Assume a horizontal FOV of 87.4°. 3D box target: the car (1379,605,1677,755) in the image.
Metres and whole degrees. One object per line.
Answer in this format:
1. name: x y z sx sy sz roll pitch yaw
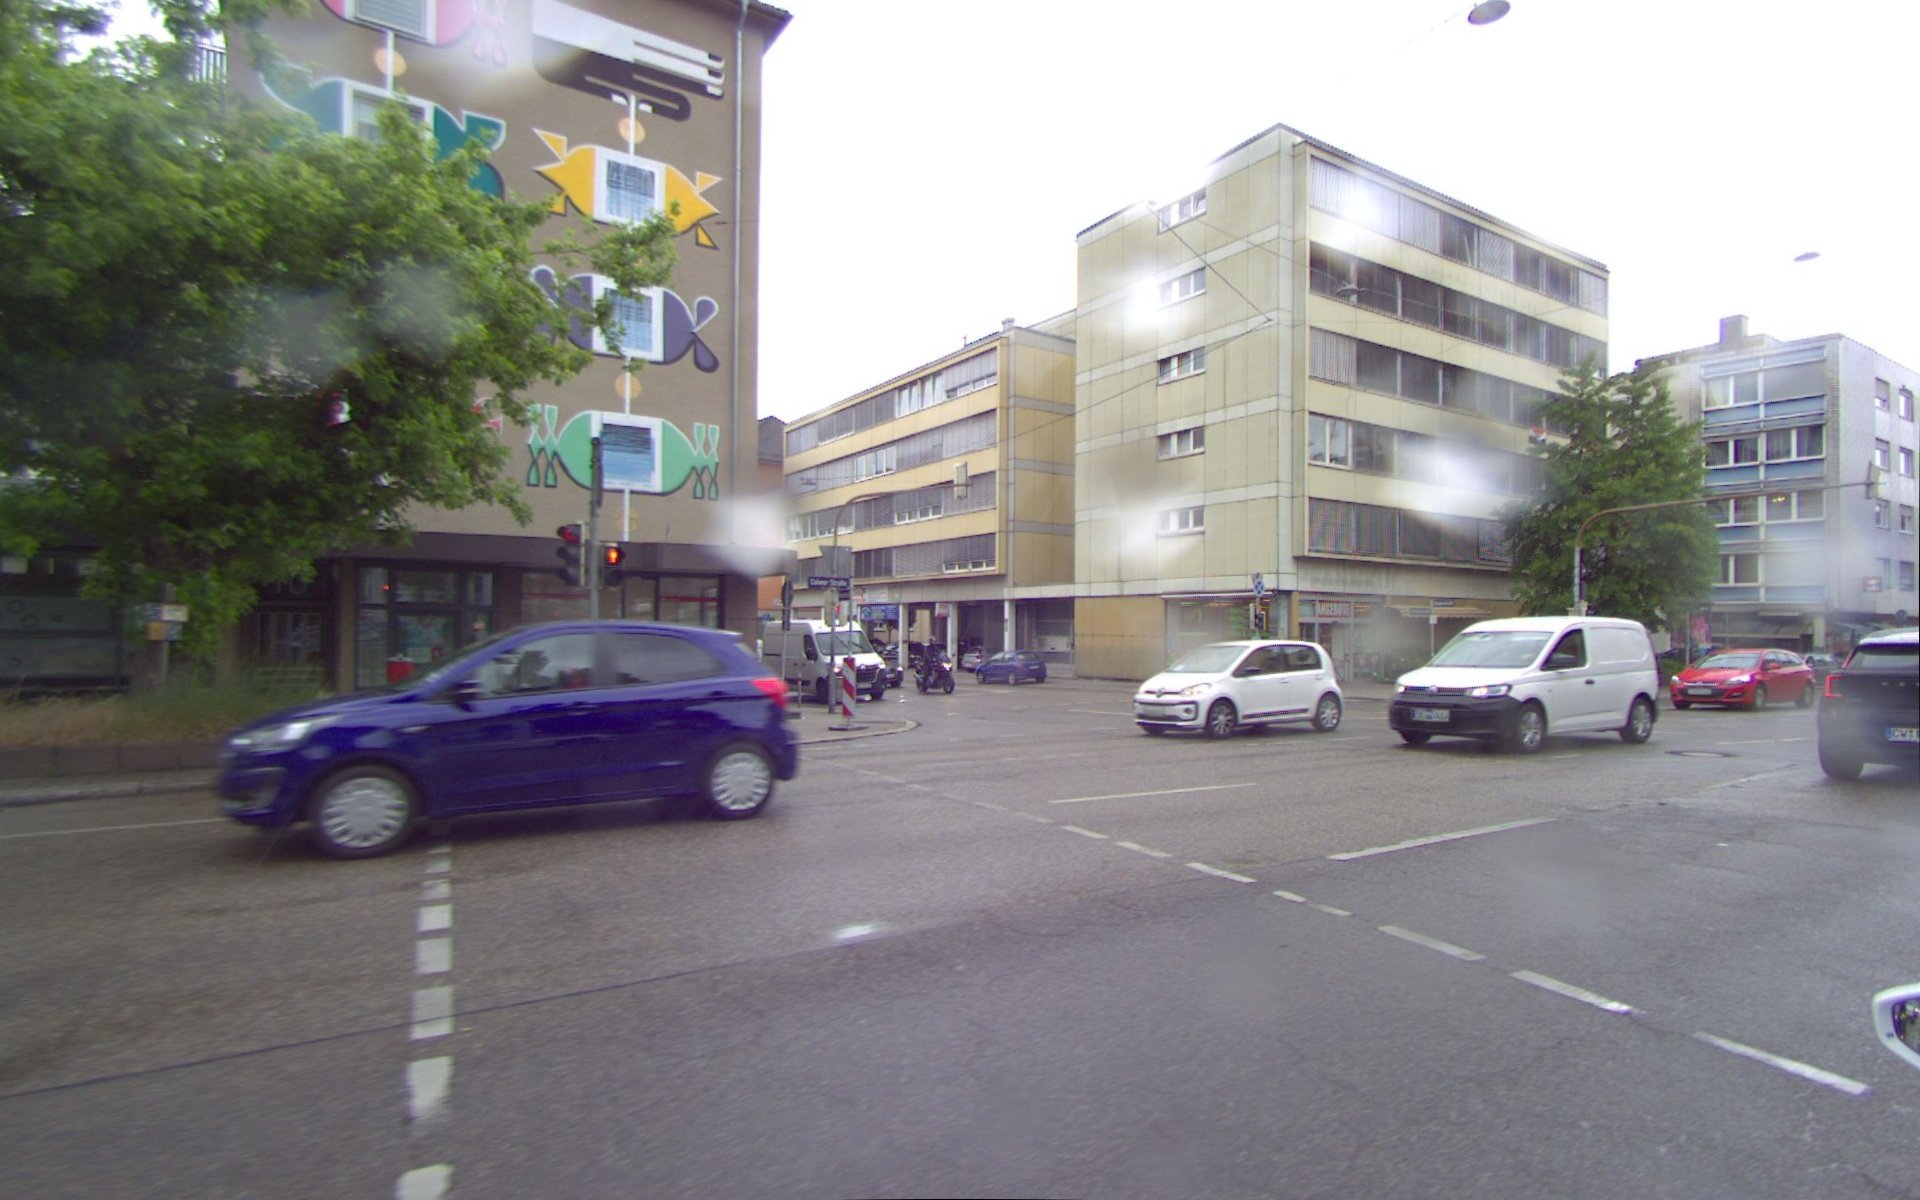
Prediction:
1. car: 8.089 1.072 14.209 4.356 1.839 1.771 2 -3 -32

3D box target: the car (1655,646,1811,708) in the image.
1. car: 19.253 1.873 24.972 4.347 1.427 1.794 2 -4 -35

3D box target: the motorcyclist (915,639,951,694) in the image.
1. motorcyclist: -0.853 2.105 31.804 0.907 1.684 0.705 -2 -4 40

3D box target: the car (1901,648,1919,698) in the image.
1. car: 32.829 2.374 33.037 3.750 1.617 1.771 2 -3 -31

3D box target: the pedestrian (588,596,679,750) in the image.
1. pedestrian: -4.521 0.995 13.917 0.880 2.040 0.932 2 -3 -43

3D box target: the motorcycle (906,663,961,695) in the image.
1. motorcycle: -0.851 2.488 31.816 1.831 0.947 0.615 -3 -4 41

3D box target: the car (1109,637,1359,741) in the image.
1. car: 4.444 1.388 16.211 3.750 1.497 1.771 2 -5 -31

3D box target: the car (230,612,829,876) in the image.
1. car: -3.077 0.921 7.576 3.773 1.511 1.777 2 -4 -33

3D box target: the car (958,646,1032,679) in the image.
1. car: 1.862 3.312 53.570 3.665 1.598 1.740 0 -3 -38

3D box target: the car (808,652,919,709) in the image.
1. car: -3.603 2.927 36.767 2.015 1.944 4.403 2 -5 -38

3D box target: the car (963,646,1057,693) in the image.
1. car: 2.139 3.077 44.289 2.010 1.944 4.414 1 -4 -31

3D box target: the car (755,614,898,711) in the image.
1. car: -4.356 1.994 31.724 2.163 2.747 5.725 2 -4 -34

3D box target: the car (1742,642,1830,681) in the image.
1. car: 33.766 2.493 41.055 3.754 1.497 1.769 2 -3 -34
